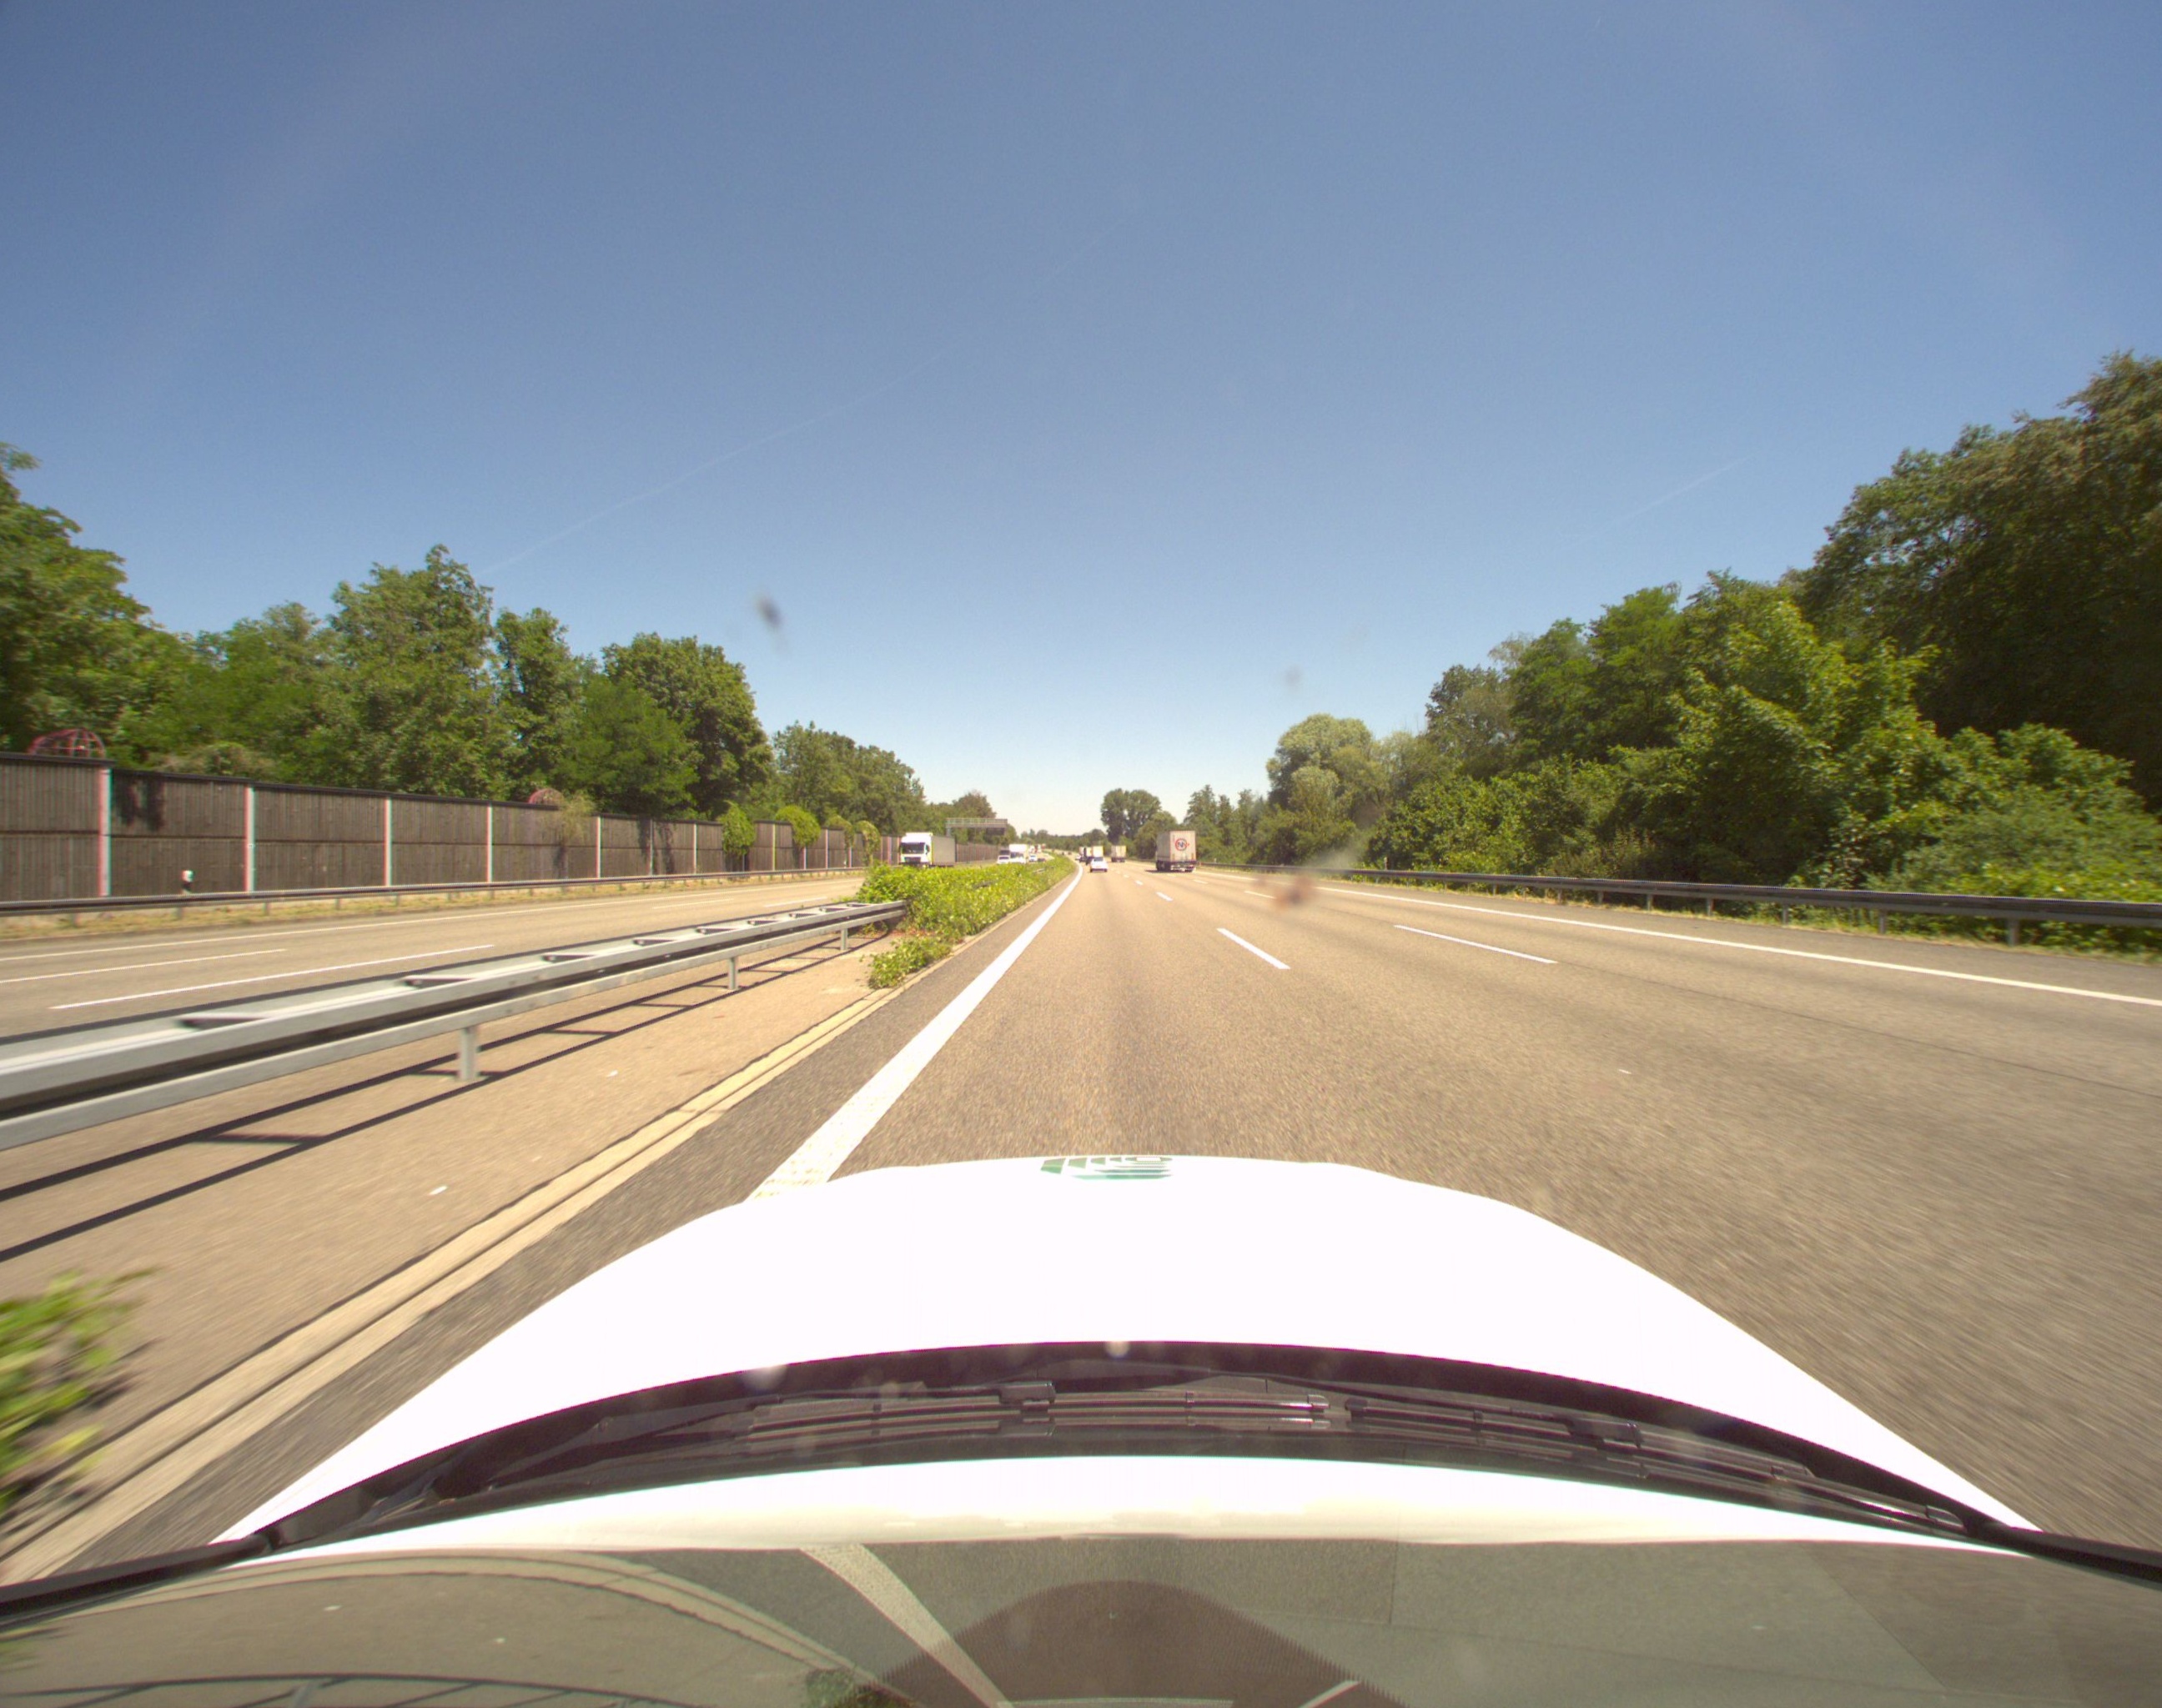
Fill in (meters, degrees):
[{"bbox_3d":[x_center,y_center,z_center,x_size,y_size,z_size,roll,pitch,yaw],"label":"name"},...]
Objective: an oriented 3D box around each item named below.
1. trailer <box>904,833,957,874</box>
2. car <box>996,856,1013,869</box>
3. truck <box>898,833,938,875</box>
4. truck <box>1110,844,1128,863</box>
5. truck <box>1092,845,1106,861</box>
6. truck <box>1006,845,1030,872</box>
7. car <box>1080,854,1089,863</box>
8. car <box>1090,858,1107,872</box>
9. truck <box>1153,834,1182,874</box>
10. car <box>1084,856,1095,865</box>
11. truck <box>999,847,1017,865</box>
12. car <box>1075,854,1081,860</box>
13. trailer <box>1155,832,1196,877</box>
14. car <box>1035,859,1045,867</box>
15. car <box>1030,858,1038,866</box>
[{"bbox_3d":[-15.425,-0.049,84.745,2.720,3.909,13.762,-1,0,1],"label":"trailer"},{"bbox_3d":[-10.770,1.195,115.339,1.861,1.820,4.817,-1,0,0],"label":"car"},{"bbox_3d":[-15.499,-0.001,77.804,2.678,3.895,5.573,-1,0,0],"label":"truck"},{"bbox_3d":[9.038,-0.135,194.467,3.482,4.311,10.982,-1,0,-1],"label":"truck"},{"bbox_3d":[4.726,-0.243,215.110,3.348,4.311,10.829,-1,0,1],"label":"truck"},{"bbox_3d":[-7.814,0.550,101.665,2.186,3.114,8.534,-1,0,1],"label":"truck"},{"bbox_3d":[0.779,1.009,195.810,1.989,2.013,3.996,-1,0,-3],"label":"car"},{"bbox_3d":[1.859,1.132,86.293,1.708,1.369,3.378,-1,0,3],"label":"car"},{"bbox_3d":[9.589,0.038,90.739,2.597,4.287,5.435,-1,0,0],"label":"truck"},{"bbox_3d":[1.556,1.198,153.336,1.988,1.772,3.998,-1,0,-2],"label":"car"},{"bbox_3d":[-15.474,0.473,174.074,2.861,3.605,9.950,-1,0,0],"label":"truck"},{"bbox_3d":[-0.974,0.841,248.716,1.720,1.783,3.996,-1,0,-3],"label":"car"},{"bbox_3d":[9.557,0.053,84.051,2.615,4.261,14.058,-1,0,0],"label":"trailer"},{"bbox_3d":[-7.219,1.517,144.095,1.621,1.390,3.912,-1,0,-1],"label":"car"},{"bbox_3d":[-12.342,2.017,214.306,1.987,2.014,5.101,-1,0,0],"label":"car"}]
